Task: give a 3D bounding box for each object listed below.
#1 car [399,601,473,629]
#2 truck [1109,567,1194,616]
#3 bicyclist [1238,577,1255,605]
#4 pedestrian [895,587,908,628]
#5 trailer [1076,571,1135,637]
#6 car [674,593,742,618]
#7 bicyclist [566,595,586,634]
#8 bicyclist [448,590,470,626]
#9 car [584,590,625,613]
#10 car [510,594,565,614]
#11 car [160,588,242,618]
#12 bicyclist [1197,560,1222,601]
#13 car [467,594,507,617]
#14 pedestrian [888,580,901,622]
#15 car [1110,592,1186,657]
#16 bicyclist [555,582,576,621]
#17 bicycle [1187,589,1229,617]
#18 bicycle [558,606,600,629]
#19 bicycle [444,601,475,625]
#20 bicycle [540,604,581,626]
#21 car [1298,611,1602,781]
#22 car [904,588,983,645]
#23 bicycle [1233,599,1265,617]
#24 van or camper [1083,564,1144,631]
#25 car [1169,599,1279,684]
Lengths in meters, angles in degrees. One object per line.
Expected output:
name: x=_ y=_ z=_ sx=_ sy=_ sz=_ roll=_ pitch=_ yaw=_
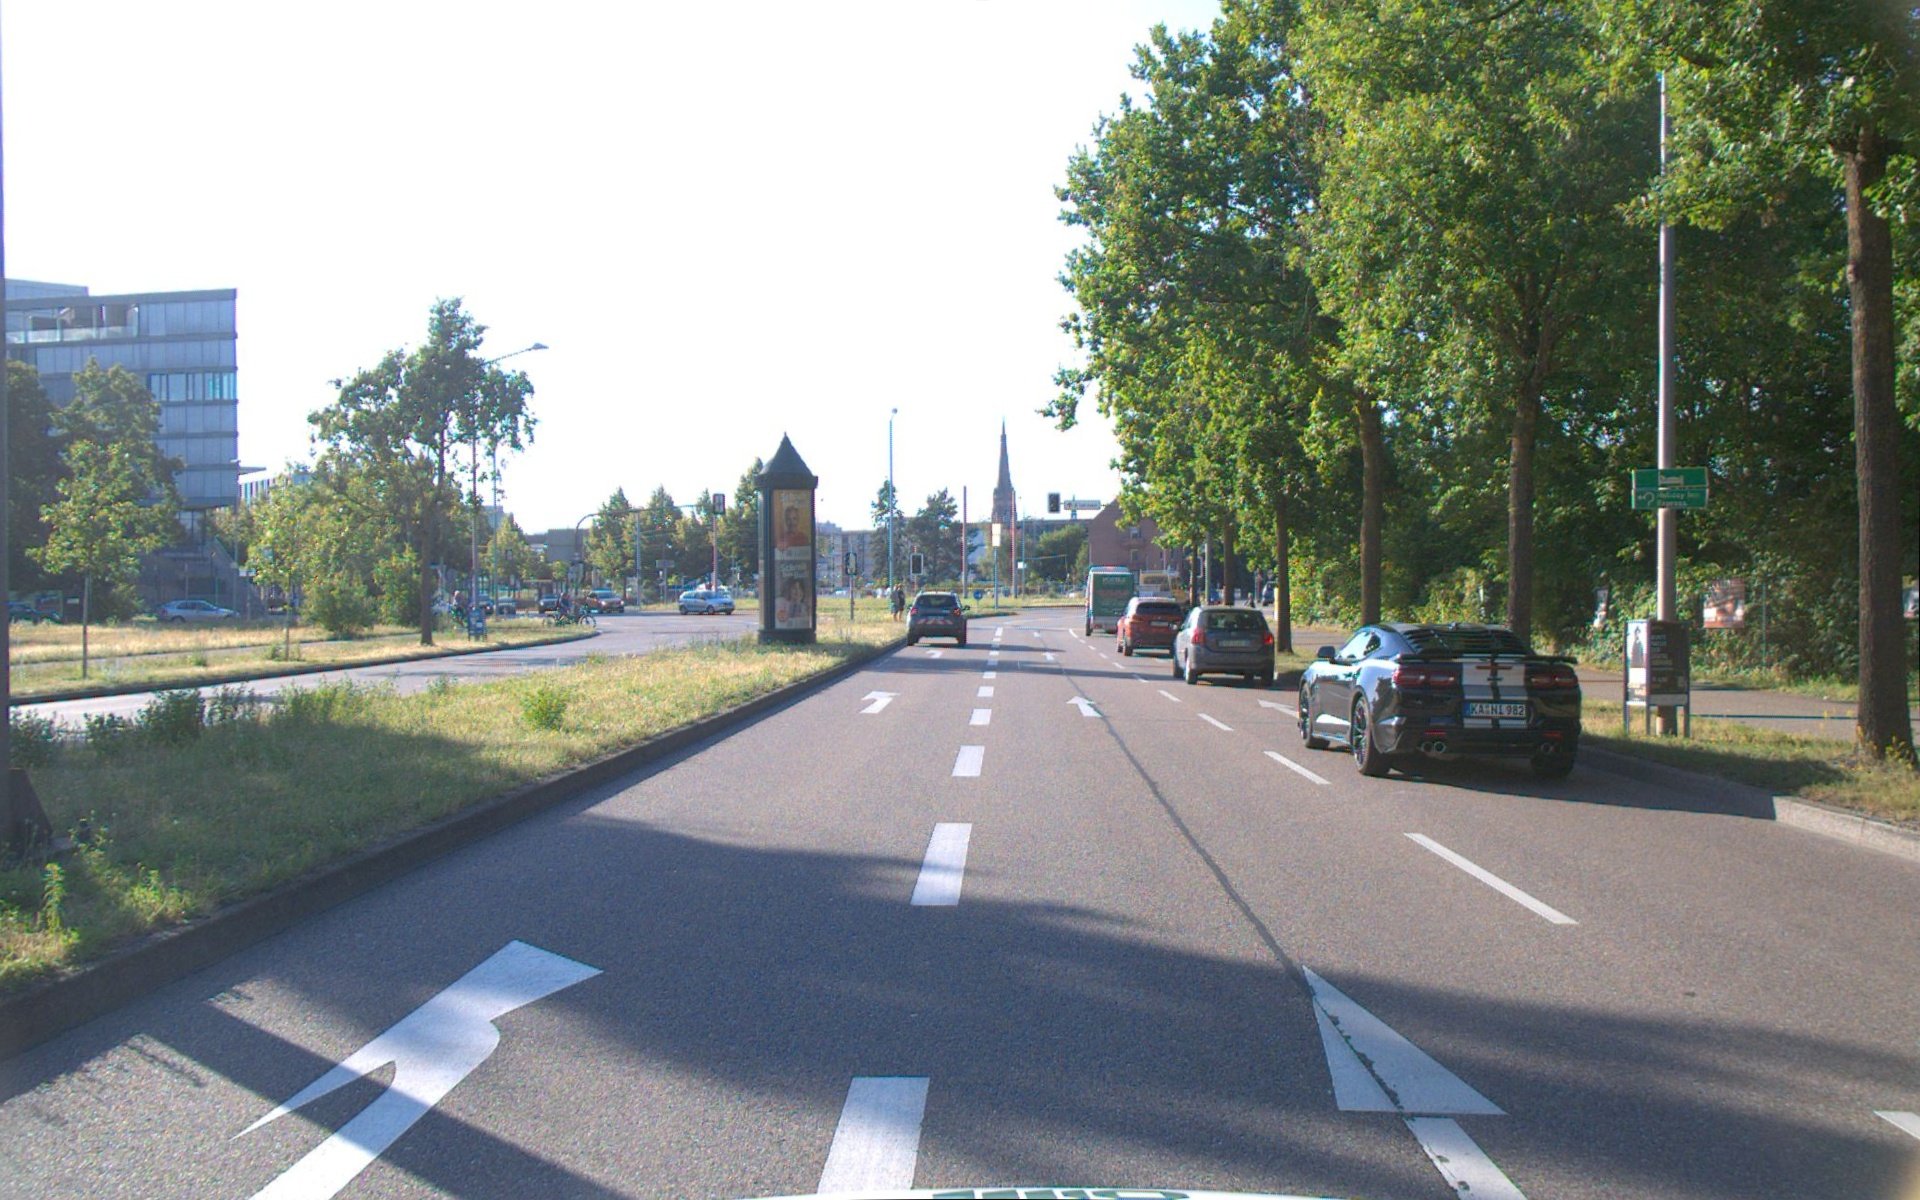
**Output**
car: x=-30.751 y=0.857 z=97.072 sx=3.915 sy=1.534 sz=1.833 roll=-1 pitch=1 yaw=-26
truck: x=10.724 y=-0.494 z=92.347 sx=2.531 sy=2.602 sz=6.242 roll=0 pitch=1 yaw=29
bicyclist: x=13.730 y=-0.414 z=79.351 sx=0.638 sy=1.317 sz=0.464 roll=-1 pitch=1 yaw=-16
pedestrian: x=-2.671 y=0.325 z=75.587 sx=0.475 sy=1.876 sz=0.672 roll=-1 pitch=0 yaw=5
trailer: x=5.575 y=0.114 z=63.748 sx=2.046 sy=2.442 sz=3.502 roll=1 pitch=1 yaw=2
car: x=-15.319 y=0.316 z=100.552 sx=3.671 sy=1.459 sz=1.835 roll=-1 pitch=1 yaw=23
bicyclist: x=-18.225 y=0.701 z=78.545 sx=0.795 sy=1.820 sz=0.497 roll=1 pitch=0 yaw=10
bicyclist: x=-23.906 y=0.381 z=78.902 sx=0.704 sy=1.695 sz=0.818 roll=-1 pitch=0 yaw=-43
car: x=-23.787 y=0.109 z=110.578 sx=1.878 sy=1.470 sz=4.108 roll=-1 pitch=1 yaw=-24
car: x=-31.154 y=0.313 z=121.911 sx=4.063 sy=1.400 sz=1.668 roll=-1 pitch=1 yaw=34
car: x=-41.179 y=0.171 z=89.739 sx=3.676 sy=1.534 sz=1.847 roll=-1 pitch=1 yaw=-41
bicyclist: x=11.801 y=-0.917 z=78.239 sx=0.921 sy=1.932 sz=0.598 roll=-2 pitch=0 yaw=38
car: x=-32.431 y=0.374 z=113.435 sx=1.633 sy=1.466 sz=3.616 roll=-2 pitch=1 yaw=1
pedestrian: x=-2.955 y=0.058 z=74.586 sx=0.475 sy=1.876 sz=0.720 roll=0 pitch=0 yaw=4
car: x=5.263 y=0.648 z=46.718 sx=1.711 sy=1.649 sz=3.820 roll=1 pitch=2 yaw=0
bicyclist: x=-18.425 y=0.062 z=77.172 sx=0.796 sy=1.801 sz=0.496 roll=1 pitch=0 yaw=17
bicycle: x=11.729 y=0.160 z=78.317 sx=1.873 sy=1.266 sz=0.606 roll=-2 pitch=0 yaw=38
bicycle: x=-18.072 y=0.820 z=78.490 sx=1.867 sy=1.037 sz=0.505 roll=1 pitch=0 yaw=9
bicycle: x=-23.870 y=0.628 z=78.875 sx=0.720 sy=1.138 sz=1.794 roll=-1 pitch=0 yaw=-43
bicycle: x=-18.656 y=0.698 z=77.239 sx=1.868 sy=1.037 sz=0.505 roll=1 pitch=0 yaw=17
car: x=4.502 y=0.801 z=15.931 sx=1.815 sy=1.361 sz=4.627 roll=0 pitch=0 yaw=4
car: x=-0.471 y=0.473 z=51.259 sx=1.865 sy=1.689 sz=4.003 roll=-1 pitch=0 yaw=8
bicycle: x=13.857 y=0.377 z=79.383 sx=1.436 sy=0.800 sz=0.438 roll=-2 pitch=1 yaw=-16
van or camper: x=6.436 y=-0.138 z=69.950 sx=2.237 sy=2.675 sz=6.585 roll=1 pitch=1 yaw=2
car: x=5.123 y=0.770 z=32.453 sx=1.711 sy=1.499 sz=3.821 roll=-1 pitch=1 yaw=3
